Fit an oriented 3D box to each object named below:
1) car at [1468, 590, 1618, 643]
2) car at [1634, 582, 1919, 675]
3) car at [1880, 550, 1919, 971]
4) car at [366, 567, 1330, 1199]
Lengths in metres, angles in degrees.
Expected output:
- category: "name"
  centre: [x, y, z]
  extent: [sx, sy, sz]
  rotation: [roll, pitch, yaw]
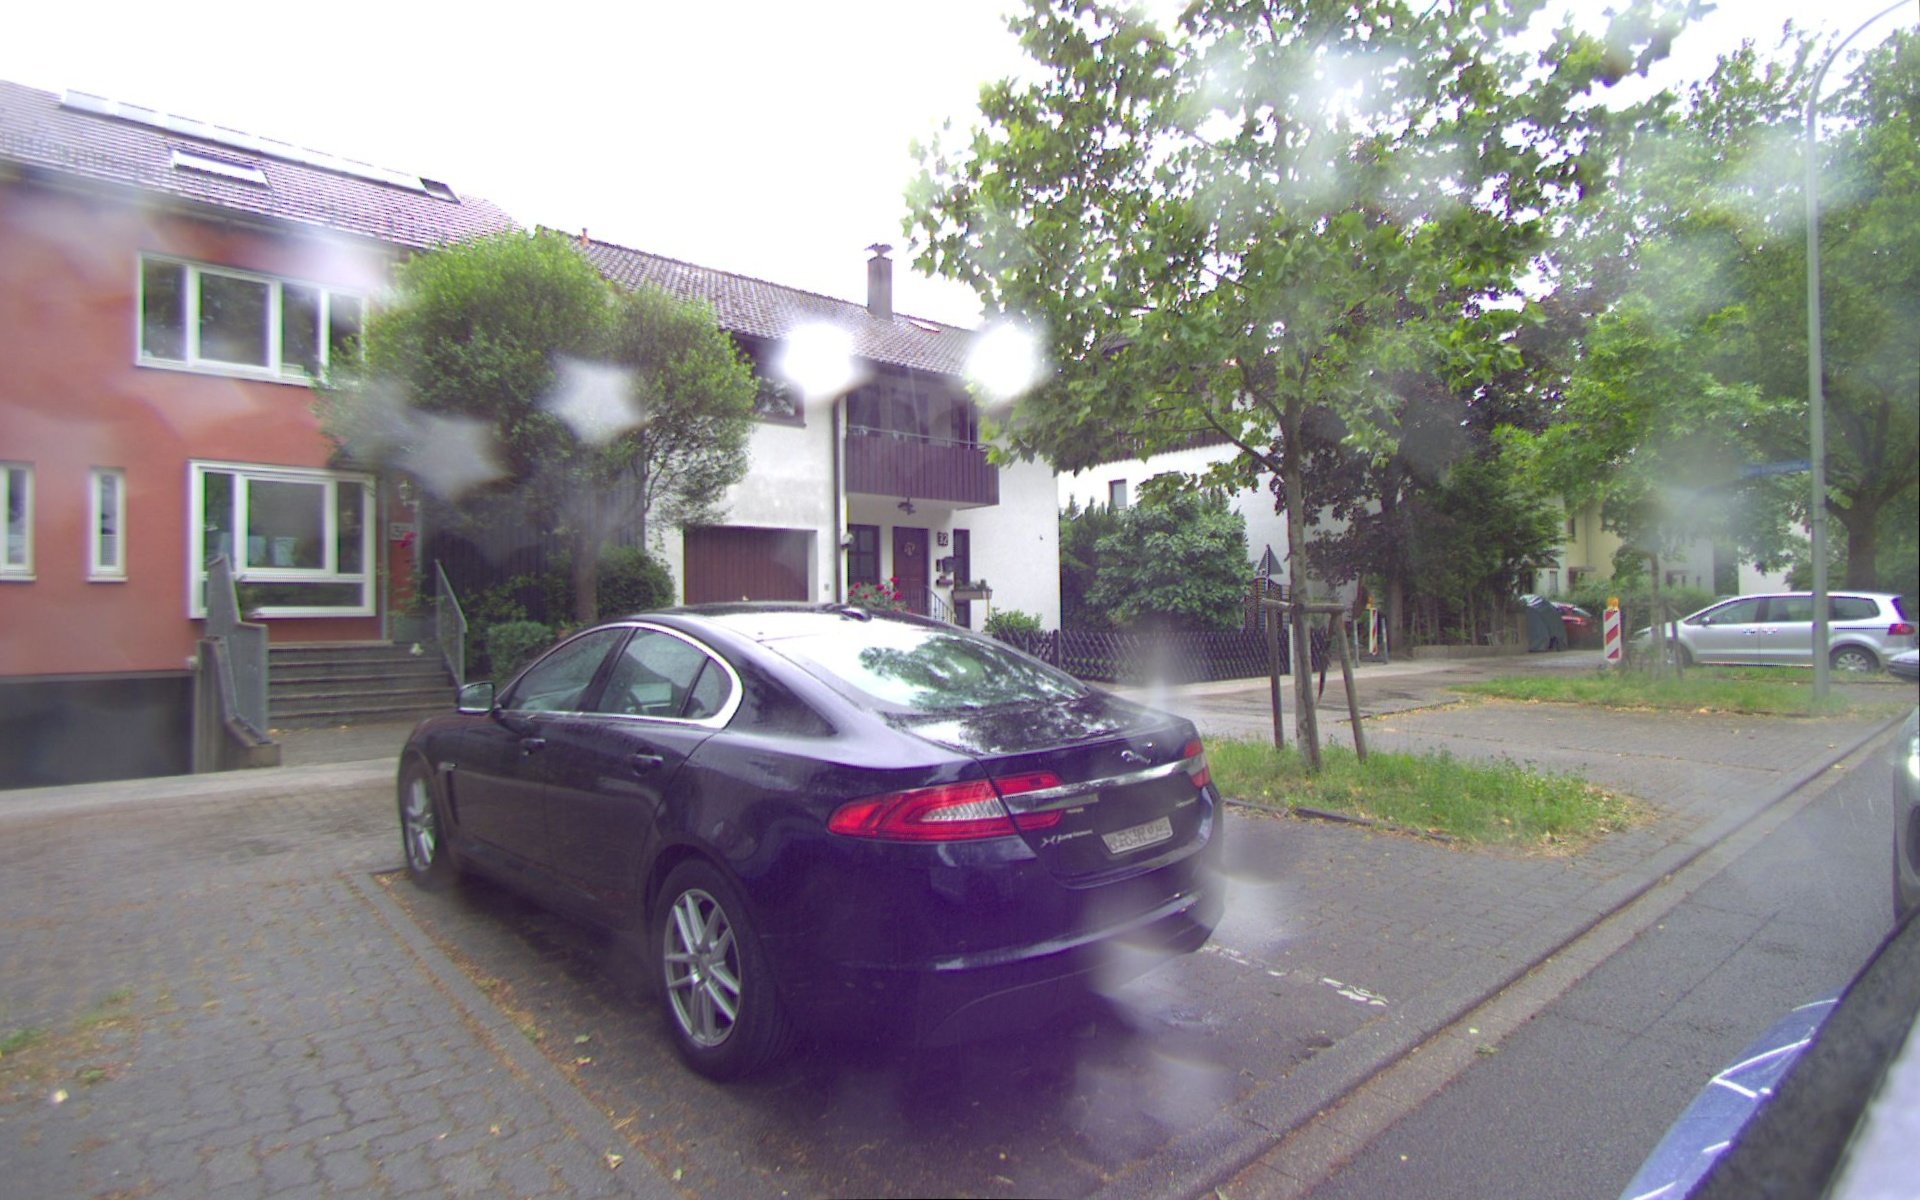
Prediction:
- category: "car"
  centre: [19.003, 0.519, 33.112]
  extent: [1.809, 1.633, 3.853]
  rotation: [0, 0, -39]
- category: "car"
  centre: [16.652, 0.522, 20.476]
  extent: [1.942, 1.682, 4.694]
  rotation: [0, 0, -42]
- category: "car"
  centre: [5.909, 0.625, 4.733]
  extent: [4.346, 1.638, 1.861]
  rotation: [0, 0, -41]
- category: "car"
  centre: [-1.003, 0.668, 4.676]
  extent: [1.906, 1.491, 4.768]
  rotation: [0, 0, -45]
